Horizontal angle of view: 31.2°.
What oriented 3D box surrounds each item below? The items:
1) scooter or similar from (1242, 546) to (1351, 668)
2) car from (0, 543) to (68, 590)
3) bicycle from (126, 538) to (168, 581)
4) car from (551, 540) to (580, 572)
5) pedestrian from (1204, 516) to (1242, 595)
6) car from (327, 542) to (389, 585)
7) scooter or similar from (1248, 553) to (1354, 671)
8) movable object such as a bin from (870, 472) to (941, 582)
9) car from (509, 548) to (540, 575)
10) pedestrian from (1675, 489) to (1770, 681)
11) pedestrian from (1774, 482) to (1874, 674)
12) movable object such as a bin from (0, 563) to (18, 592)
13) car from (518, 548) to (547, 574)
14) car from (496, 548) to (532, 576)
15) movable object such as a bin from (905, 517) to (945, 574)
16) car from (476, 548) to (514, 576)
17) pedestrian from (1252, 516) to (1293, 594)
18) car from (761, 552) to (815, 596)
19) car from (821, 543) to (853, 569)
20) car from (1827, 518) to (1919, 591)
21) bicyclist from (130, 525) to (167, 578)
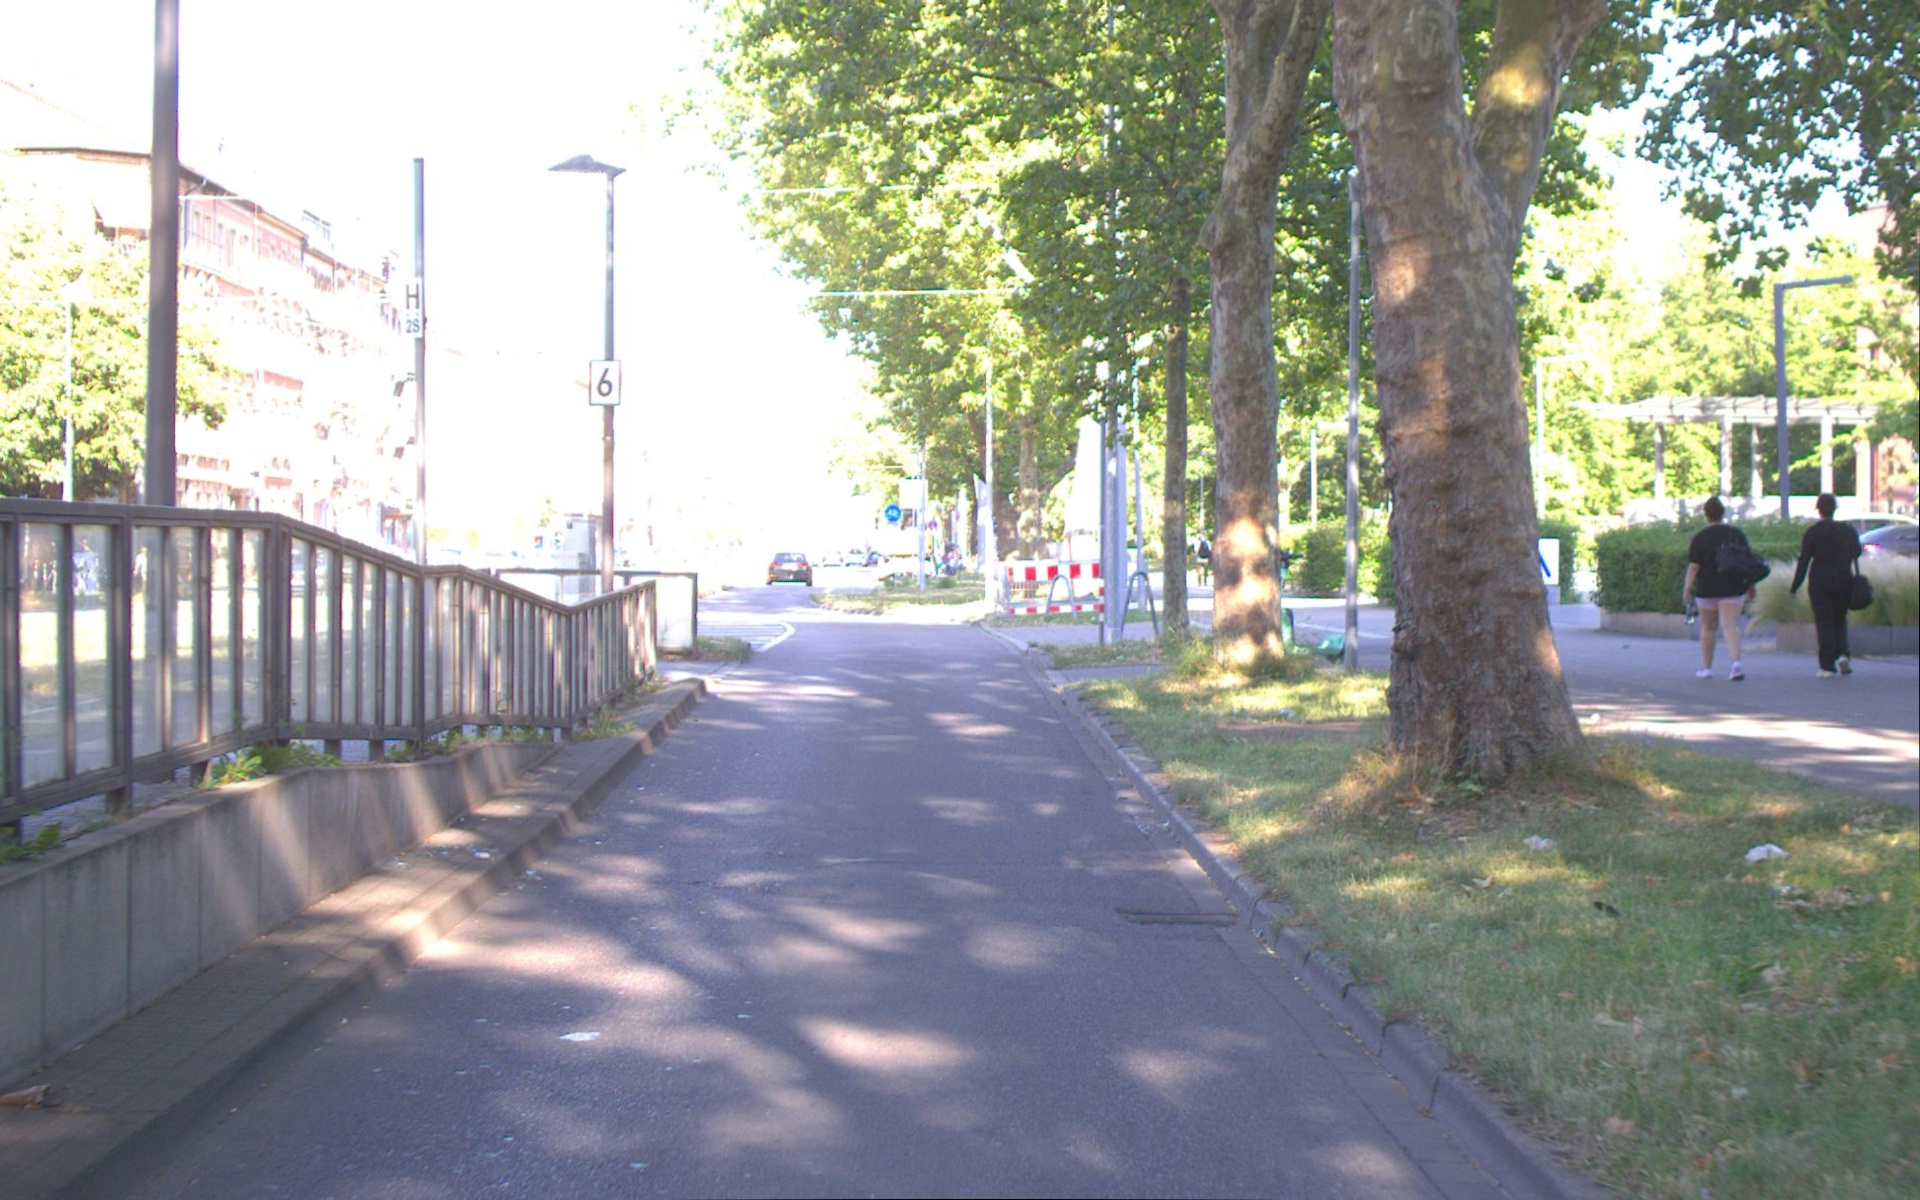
[{"bbox_3d":[3.503,0.068,35.871,1.052,1.240,0.841,-1,0,2],"label":"scooter or similar"},{"bbox_3d":[-31.449,-1.120,112.359,4.185,1.466,1.997,1,0,28],"label":"car"},{"bbox_3d":[-23.226,-1.162,98.257,0.774,1.189,1.756,2,1,-1],"label":"bicycle"},{"bbox_3d":[-28.359,-3.163,247.204,1.658,2.132,3.526,2,2,-2],"label":"car"},{"bbox_3d":[6.086,-1.028,79.704,0.750,1.787,1.086,-1,1,-1],"label":"pedestrian"},{"bbox_3d":[-26.591,-1.620,152.018,2.015,1.748,4.559,2,2,-2],"label":"car"},{"bbox_3d":[3.637,0.124,36.765,1.052,1.240,0.841,-1,0,2],"label":"scooter or similar"},{"bbox_3d":[-2.674,-3.504,166.363,3.087,5.071,8.893,-3,1,-1],"label":"movable object such as a bin"},{"bbox_3d":[-26.930,-2.390,212.499,1.527,1.555,3.224,2,2,-2],"label":"car"},{"bbox_3d":[6.680,-0.136,30.145,0.627,1.651,0.740,-1,1,-1],"label":"pedestrian"},{"bbox_3d":[7.579,-0.194,30.177,0.650,1.651,0.783,-1,1,-1],"label":"pedestrian"},{"bbox_3d":[-28.761,-0.686,102.146,1.244,0.862,1.237,2,0,-3],"label":"movable object such as a bin"},{"bbox_3d":[-27.232,-2.473,219.032,1.527,1.555,3.224,2,2,-2],"label":"car"},{"bbox_3d":[-26.827,-2.285,206.957,1.741,1.555,3.768,2,2,-2],"label":"car"},{"bbox_3d":[-1.932,-2.976,188.551,1.968,3.003,4.797,-3,1,-1],"label":"movable object such as a bin"},{"bbox_3d":[-27.340,-2.246,202.191,1.741,1.555,3.768,2,2,-2],"label":"car"},{"bbox_3d":[7.267,-1.044,79.879,0.805,1.787,1.110,-1,1,-1],"label":"pedestrian"},{"bbox_3d":[-6.901,-1.069,138.313,1.993,1.678,4.000,2,1,-1],"label":"car"},{"bbox_3d":[-9.304,-3.332,259.592,1.993,1.853,4.001,2,1,-7],"label":"car"},{"bbox_3d":[24.037,-1.159,85.261,4.670,1.707,1.849,-2,2,-21],"label":"car"},{"bbox_3d":[-23.221,-1.392,98.384,0.774,1.476,1.134,2,1,-1],"label":"bicyclist"}]
